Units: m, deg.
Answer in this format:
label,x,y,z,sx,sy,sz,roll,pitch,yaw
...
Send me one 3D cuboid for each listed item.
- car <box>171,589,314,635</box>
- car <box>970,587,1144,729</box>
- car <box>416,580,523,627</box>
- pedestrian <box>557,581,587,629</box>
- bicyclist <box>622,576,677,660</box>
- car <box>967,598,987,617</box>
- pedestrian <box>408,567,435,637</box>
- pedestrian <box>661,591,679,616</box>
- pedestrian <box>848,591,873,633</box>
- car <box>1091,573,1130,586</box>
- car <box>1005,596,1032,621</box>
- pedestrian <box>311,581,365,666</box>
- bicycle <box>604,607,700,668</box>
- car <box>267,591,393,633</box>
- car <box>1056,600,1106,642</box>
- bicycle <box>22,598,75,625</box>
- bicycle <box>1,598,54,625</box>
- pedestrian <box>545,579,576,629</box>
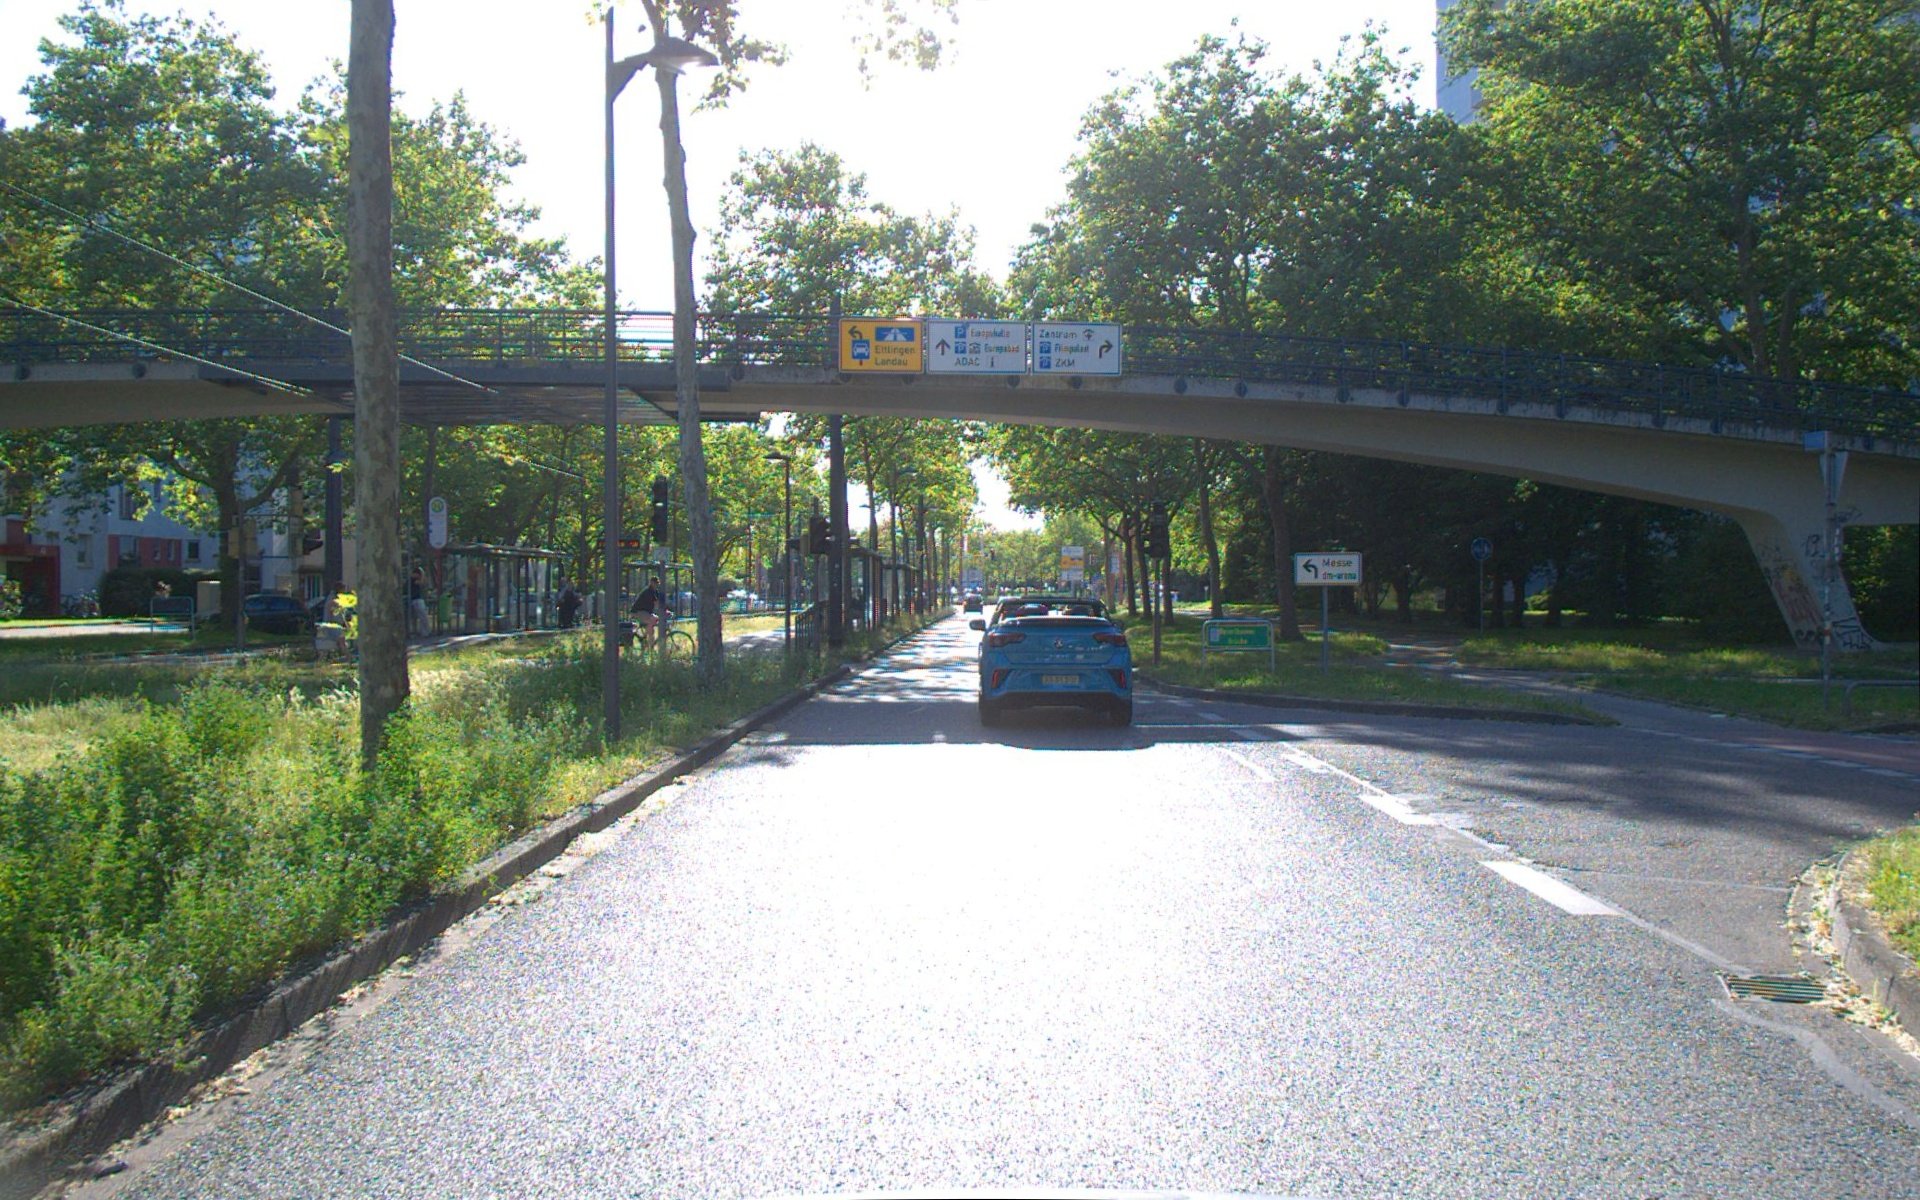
label,x,y,z,sx,sy,sz,roll,pitch,yaw
car,-24.213,0.419,55.892,4.157,1.453,1.677,1,1,-39
car,1.085,0.630,20.390,1.740,1.509,4.099,2,0,-2
car,-23.295,0.187,78.619,4.454,2.099,1.874,1,1,-39
pedestrian,-12.681,0.170,54.038,0.669,1.540,0.643,-2,0,27
bicyclist,-6.351,0.359,33.895,0.934,1.660,0.815,2,1,0
car,1.433,0.626,141.449,1.675,1.631,3.349,1,0,0
pedestrian,-14.039,0.052,43.142,0.499,1.801,0.477,2,-1,-40
pedestrian,-13.907,0.155,79.275,0.680,1.147,0.662,-3,-1,1
pedestrian,-3.094,0.369,51.423,0.719,1.274,0.587,1,-1,-6
car,16.821,-2.323,184.747,3.909,1.361,1.727,1,0,27
car,3.802,0.562,108.710,1.605,1.520,3.503,1,1,0
pedestrian,-12.746,0.475,33.891,0.710,1.703,1.048,1,-1,-3
bicycle,-6.302,0.759,33.895,1.793,1.167,0.815,2,1,-1
car,-23.793,0.460,62.516,4.157,1.453,1.677,1,1,-39
car,5.468,0.924,75.174,1.941,1.823,4.614,1,0,0
bicycle,-35.038,0.438,63.622,0.681,0.944,2.594,1,1,-3
bicycle,-35.860,0.420,63.625,0.681,0.944,2.594,1,1,-3
pedestrian,-13.404,0.121,55.466,0.702,1.663,0.727,-1,-1,41
